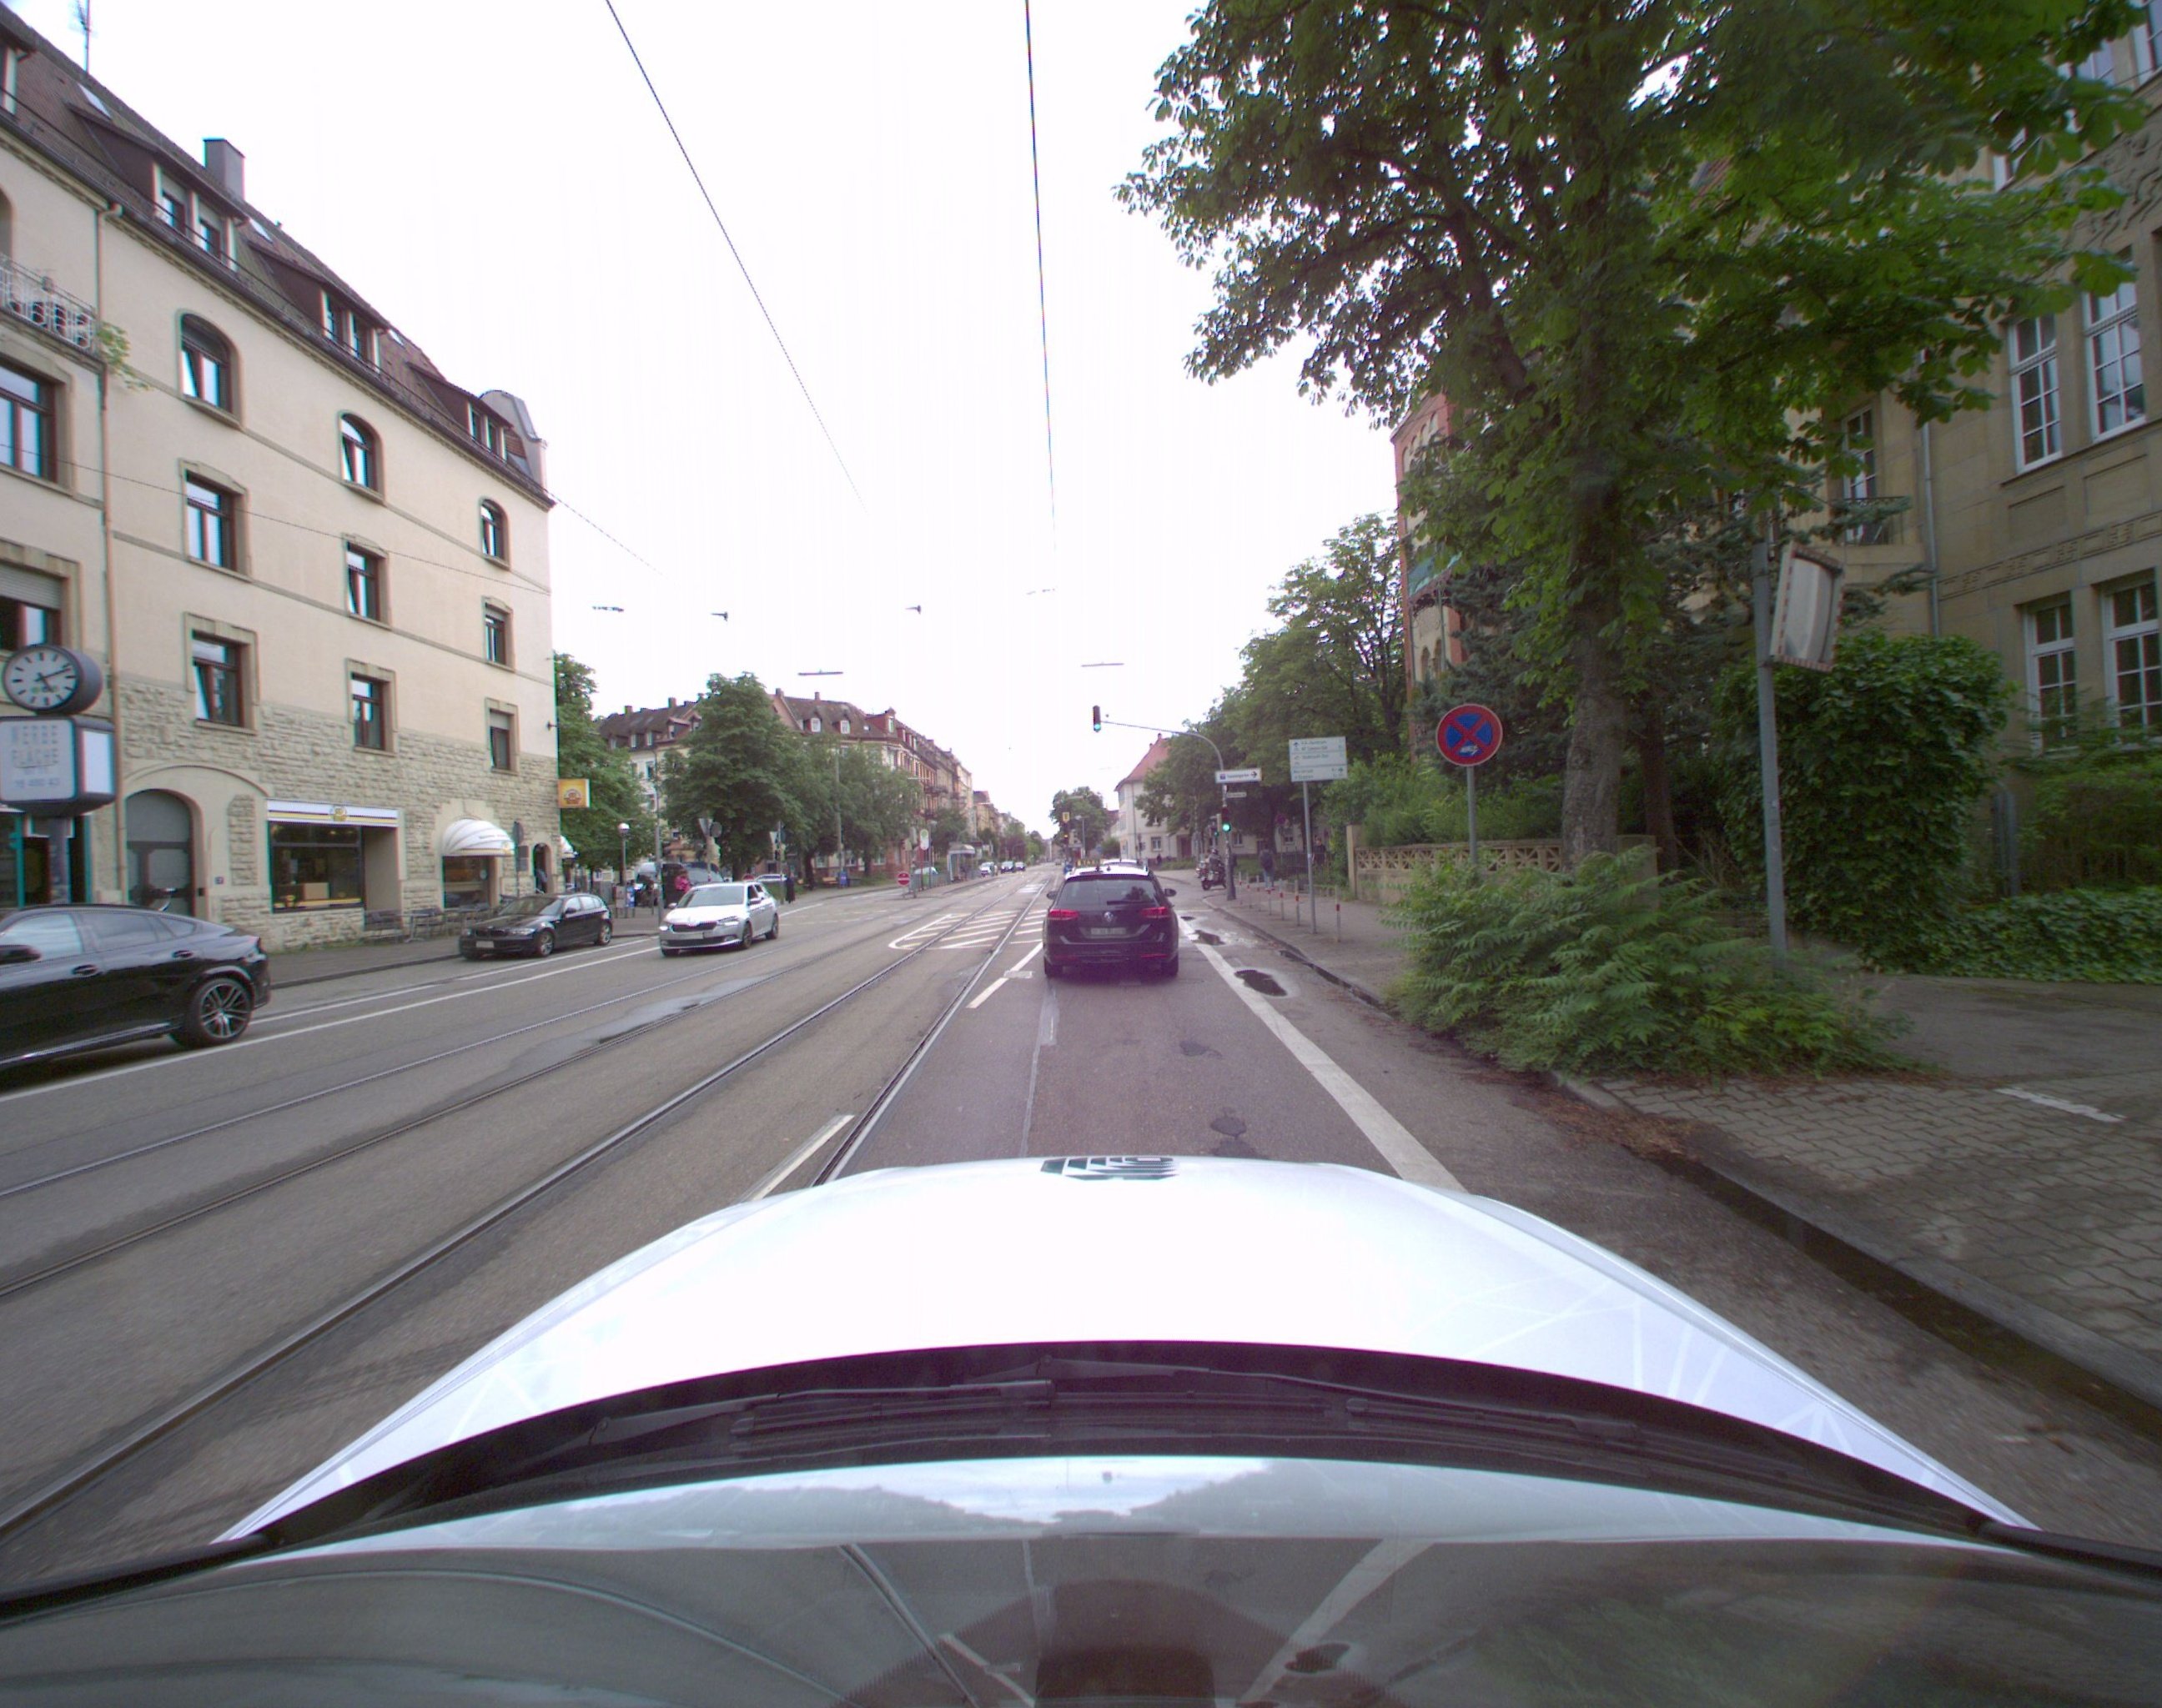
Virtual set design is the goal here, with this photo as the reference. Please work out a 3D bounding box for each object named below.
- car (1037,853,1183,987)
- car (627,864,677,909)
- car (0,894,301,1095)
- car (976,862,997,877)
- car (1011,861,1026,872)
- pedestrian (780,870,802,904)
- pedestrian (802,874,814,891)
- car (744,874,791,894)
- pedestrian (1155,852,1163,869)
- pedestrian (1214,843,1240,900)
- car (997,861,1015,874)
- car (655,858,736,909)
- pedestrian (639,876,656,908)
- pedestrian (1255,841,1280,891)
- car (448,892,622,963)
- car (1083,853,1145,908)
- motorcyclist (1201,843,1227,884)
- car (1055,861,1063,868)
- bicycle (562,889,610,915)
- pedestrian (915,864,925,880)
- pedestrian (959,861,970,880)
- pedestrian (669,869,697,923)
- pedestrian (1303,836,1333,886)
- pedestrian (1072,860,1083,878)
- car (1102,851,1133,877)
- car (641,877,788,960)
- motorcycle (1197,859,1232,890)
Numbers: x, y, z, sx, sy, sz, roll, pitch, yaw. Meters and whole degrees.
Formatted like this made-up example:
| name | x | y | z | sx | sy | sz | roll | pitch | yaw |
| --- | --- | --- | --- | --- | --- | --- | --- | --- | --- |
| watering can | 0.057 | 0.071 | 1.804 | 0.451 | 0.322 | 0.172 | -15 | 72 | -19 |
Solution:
| name | x | y | z | sx | sy | sz | roll | pitch | yaw |
| --- | --- | --- | --- | --- | --- | --- | --- | --- | --- |
| car | 0.328 | 0.809 | 11.899 | 1.718 | 1.546 | 3.998 | -3 | 0 | -1 |
| car | -26.682 | 1.973 | 50.523 | 2.194 | 2.527 | 5.324 | -3 | 0 | -33 |
| car | -10.316 | 1.354 | 7.574 | 1.883 | 1.611 | 4.871 | -6 | 0 | -10 |
| car | -10.933 | 1.743 | 94.813 | 1.789 | 1.596 | 4.001 | -3 | 0 | 2 |
| car | -9.914 | 1.983 | 129.133 | 1.789 | 1.596 | 4.001 | -3 | 0 | 2 |
| pedestrian | -14.831 | 1.685 | 41.647 | 0.834 | 1.663 | 0.591 | -3 | -1 | 0 |
| pedestrian | -19.301 | 2.033 | 57.608 | 0.591 | 1.168 | 0.837 | -3 | -1 | -30 |
| car | -28.959 | 2.746 | 75.279 | 3.859 | 1.622 | 1.717 | -3 | 0 | -16 |
| pedestrian | 7.359 | 0.641 | 76.867 | 0.579 | 1.553 | 0.610 | -3 | -1 | 1 |
| pedestrian | 4.870 | 0.580 | 27.154 | 0.583 | 1.830 | 0.604 | -6 | -1 | 0 |
| car | -10.198 | 1.796 | 111.005 | 1.789 | 1.596 | 4.001 | -3 | 0 | 2 |
| car | -20.178 | 1.553 | 42.477 | 2.198 | 2.417 | 5.314 | -3 | -1 | -43 |
| pedestrian | -24.355 | 2.125 | 45.759 | 0.704 | 1.715 | 0.545 | -3 | -1 | -41 |
| pedestrian | 7.041 | 0.445 | 30.779 | 0.630 | 1.815 | 0.725 | -3 | -1 | -4 |
| car | -13.148 | 1.715 | 19.937 | 1.645 | 1.361 | 4.124 | -1 | 0 | -3 |
| car | 0.984 | 0.795 | 26.257 | 1.718 | 1.546 | 3.998 | -3 | 0 | -1 |
| motorcyclist | 5.759 | 0.411 | 35.173 | 0.696 | 1.692 | 0.809 | -4 | -1 | 42 |
| car | -6.633 | 3.170 | 245.756 | 2.027 | 2.014 | 3.998 | -2 | -1 | -1 |
| bicycle | -22.908 | 2.226 | 37.708 | 0.354 | 1.076 | 1.826 | -3 | -1 | 42 |
| pedestrian | -15.741 | 1.768 | 79.510 | 0.582 | 1.520 | 0.653 | -3 | -1 | 34 |
| pedestrian | -9.349 | 1.322 | 65.590 | 0.712 | 1.520 | 0.590 | -3 | -1 | 0 |
| pedestrian | -13.990 | 1.460 | 28.640 | 0.621 | 1.842 | 0.609 | -3 | -1 | -4 |
| pedestrian | 8.935 | 0.273 | 30.713 | 0.656 | 1.831 | 0.790 | -3 | -1 | -42 |
| pedestrian | -0.262 | 1.165 | 61.764 | 0.820 | 1.304 | 0.568 | -3 | -1 | -2 |
| car | 2.342 | 0.645 | 53.363 | 1.718 | 1.546 | 3.998 | -3 | 0 | -1 |
| car | -7.895 | 1.318 | 17.957 | 1.687 | 1.410 | 3.992 | -4 | 0 | -6 |
| motorcycle | 5.792 | 0.891 | 35.215 | 0.442 | 1.235 | 1.919 | -4 | 0 | 42 |
